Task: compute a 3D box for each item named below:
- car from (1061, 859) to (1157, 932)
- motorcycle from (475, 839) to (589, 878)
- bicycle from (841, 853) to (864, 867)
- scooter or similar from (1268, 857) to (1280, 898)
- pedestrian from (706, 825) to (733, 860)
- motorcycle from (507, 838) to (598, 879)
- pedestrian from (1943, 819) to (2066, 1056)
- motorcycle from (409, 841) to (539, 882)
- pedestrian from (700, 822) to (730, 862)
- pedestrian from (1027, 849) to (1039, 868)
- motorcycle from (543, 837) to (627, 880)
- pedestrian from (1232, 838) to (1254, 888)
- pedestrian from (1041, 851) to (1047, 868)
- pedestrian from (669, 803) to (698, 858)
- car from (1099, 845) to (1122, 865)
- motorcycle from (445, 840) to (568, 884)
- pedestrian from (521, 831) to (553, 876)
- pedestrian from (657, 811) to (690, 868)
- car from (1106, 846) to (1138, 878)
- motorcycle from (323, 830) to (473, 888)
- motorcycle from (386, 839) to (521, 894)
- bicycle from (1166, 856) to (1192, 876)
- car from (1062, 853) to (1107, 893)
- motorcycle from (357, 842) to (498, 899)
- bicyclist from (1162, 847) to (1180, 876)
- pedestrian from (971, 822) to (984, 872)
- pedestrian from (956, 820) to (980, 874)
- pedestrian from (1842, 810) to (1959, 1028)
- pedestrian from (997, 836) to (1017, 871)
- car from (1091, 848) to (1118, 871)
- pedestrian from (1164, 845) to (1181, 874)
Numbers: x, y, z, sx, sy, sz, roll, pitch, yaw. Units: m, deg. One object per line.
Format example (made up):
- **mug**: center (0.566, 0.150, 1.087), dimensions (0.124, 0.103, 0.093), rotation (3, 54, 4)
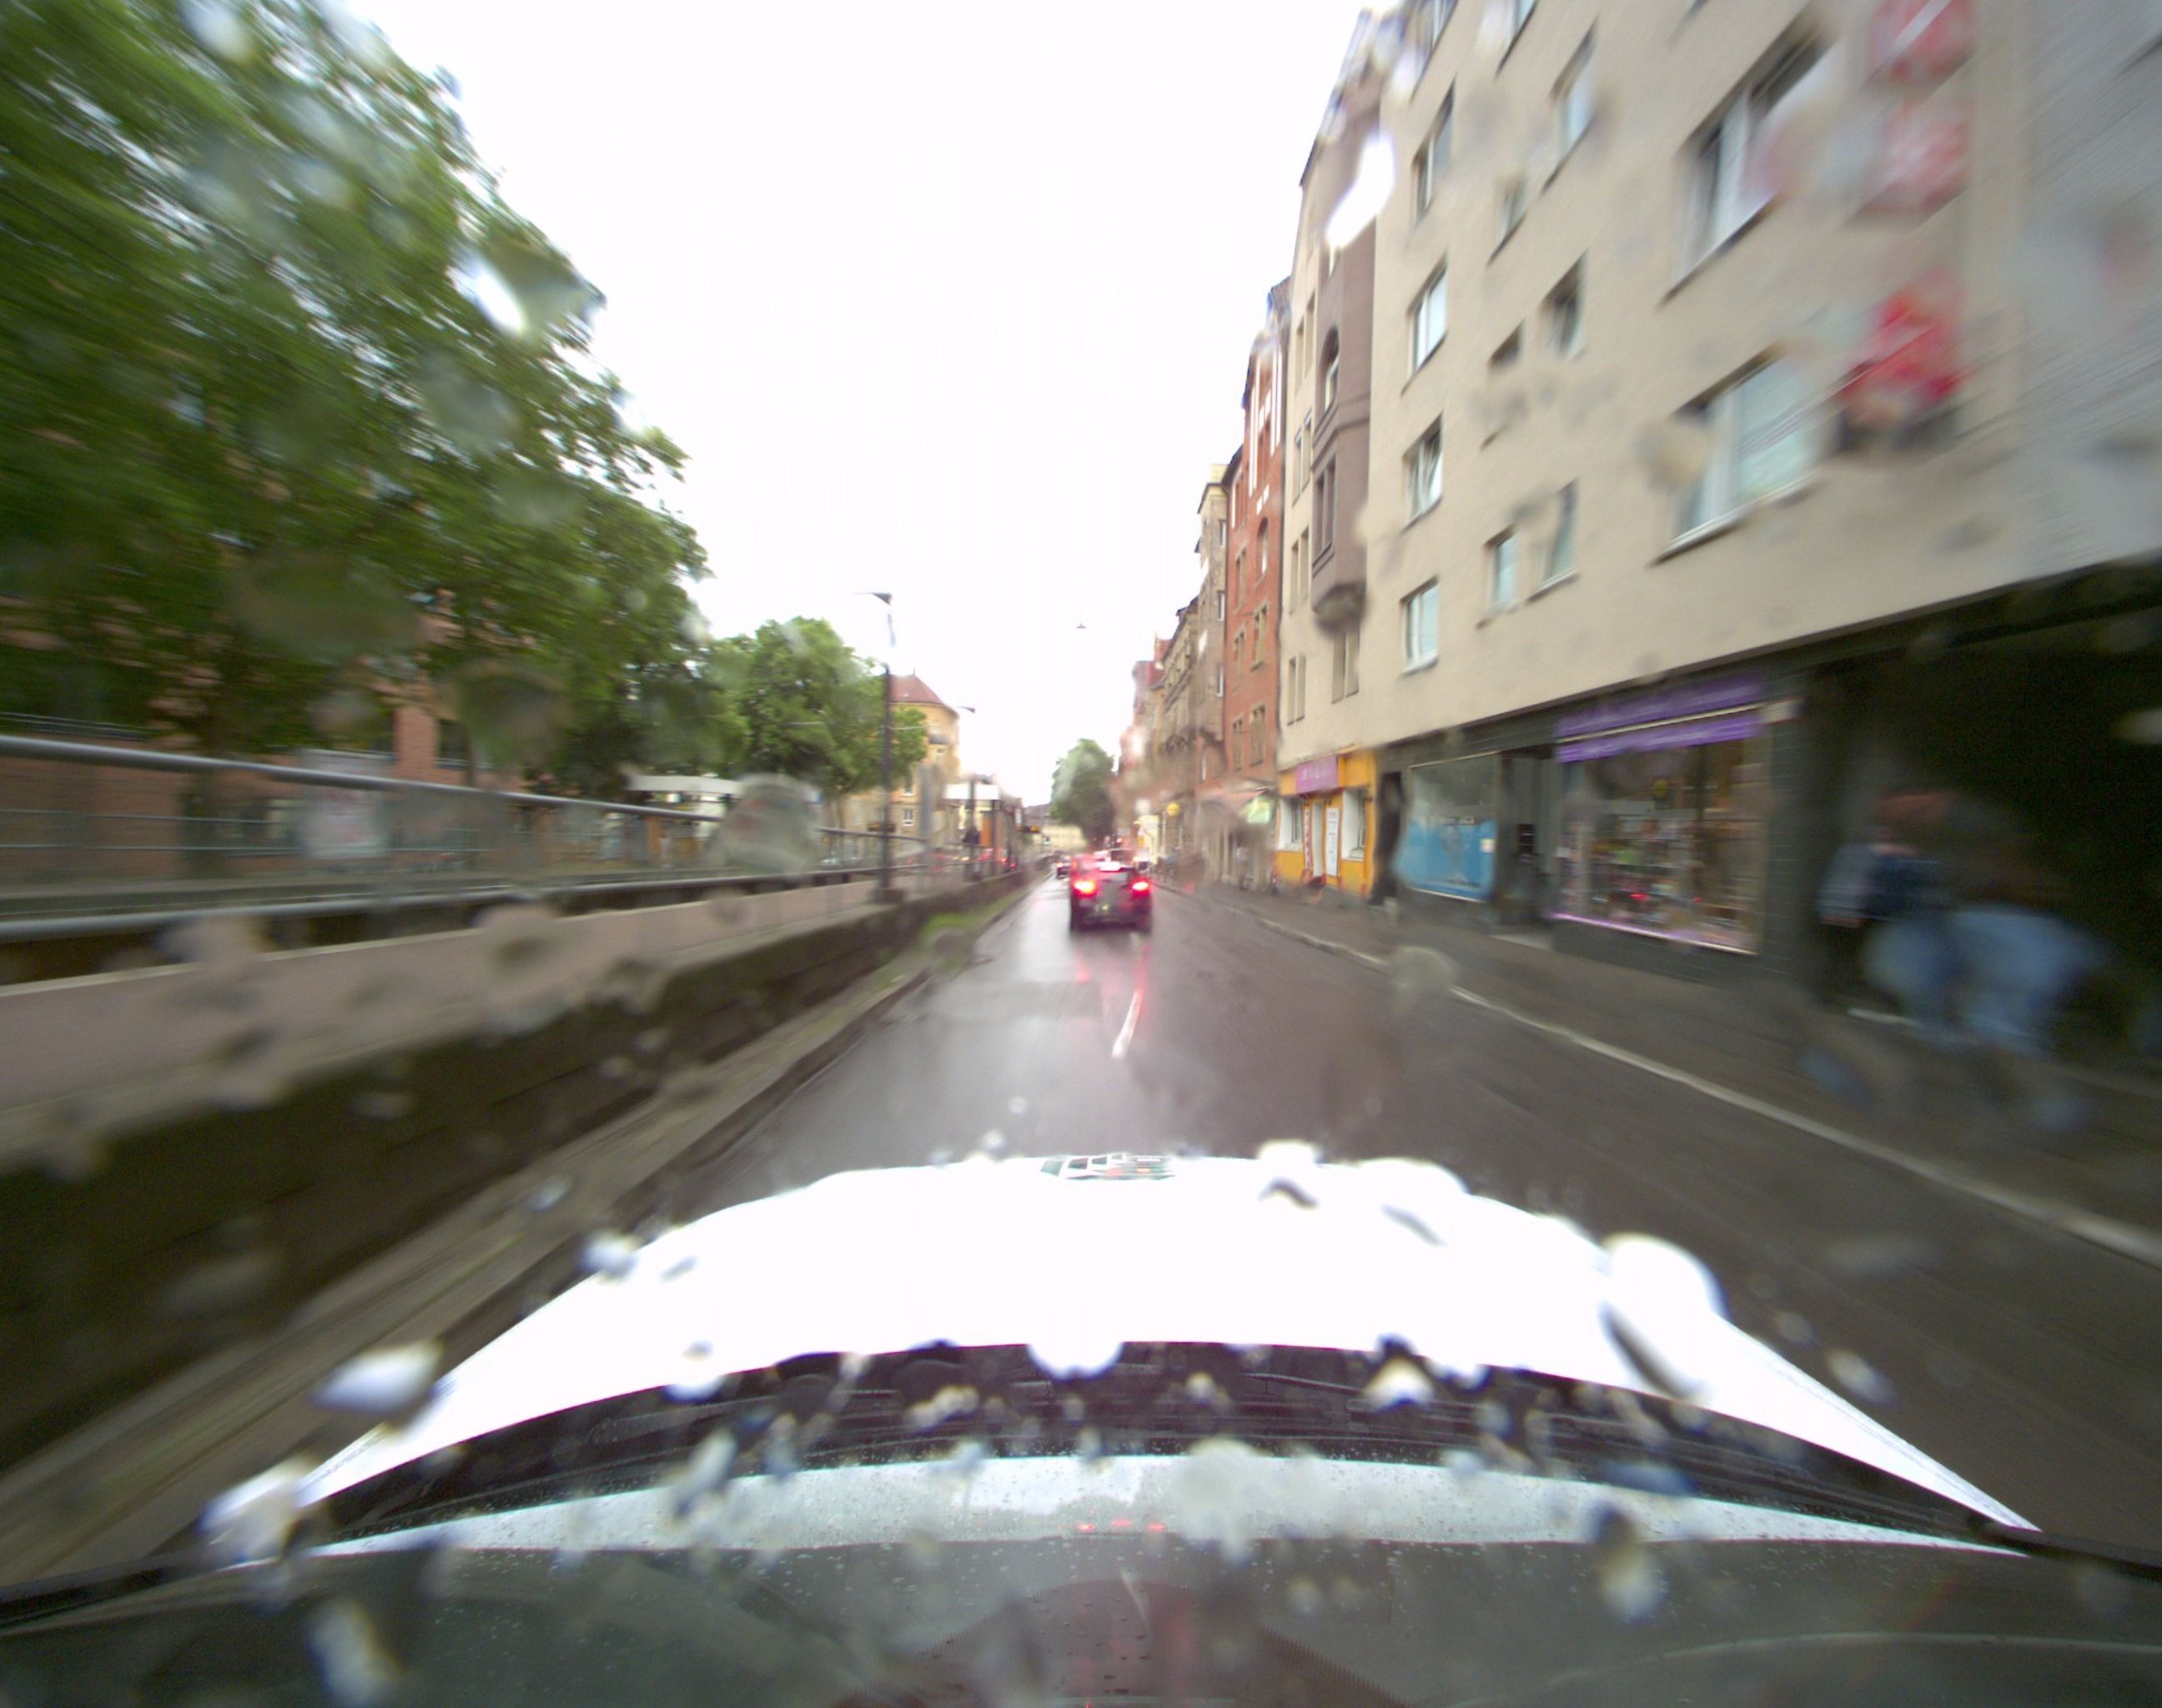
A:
- **car**: center (0.577, 0.824, 18.068), dimensions (1.888, 1.390, 4.000), rotation (0, 0, 0)
- **motorcycle**: center (-22.228, 0.180, 33.026), dimensions (3.854, 1.488, 1.005), rotation (1, 0, -3)
- **bicycle**: center (-19.699, 0.522, 70.176), dimensions (1.872, 1.195, 0.516), rotation (1, 0, -12)
- **scooter or similar**: center (5.964, 0.722, 25.207), dimensions (0.256, 1.222, 1.198), rotation (1, 0, 9)
- **pedestrian**: center (-13.034, -0.415, 29.372), dimensions (0.702, 1.240, 0.563), rotation (2, 0, -3)
- **motorcycle**: center (-22.144, 0.177, 34.179), dimensions (3.050, 1.627, 1.005), rotation (1, 0, -3)
- **pedestrian**: center (6.640, 0.585, 5.868), dimensions (0.479, 1.645, 0.331), rotation (1, 0, 3)
- **motorcycle**: center (-22.183, 0.288, 29.820), dimensions (3.854, 1.407, 1.005), rotation (1, 0, -3)
- **pedestrian**: center (-12.894, -0.430, 28.691), dimensions (0.775, 1.362, 0.563), rotation (2, 0, -3)
- **pedestrian**: center (-4.338, 0.419, 73.212), dimensions (0.745, 1.724, 0.732), rotation (1, 0, -44)
- **motorcycle**: center (-21.851, 0.201, 35.945), dimensions (3.029, 1.816, 0.992), rotation (1, 0, -3)
- **pedestrian**: center (6.012, 0.341, 30.276), dimensions (0.576, 1.830, 0.563), rotation (-3, -1, -3)
- **pedestrian**: center (-3.342, 0.524, 73.147), dimensions (0.531, 1.530, 0.435), rotation (1, 0, -9)
- **pedestrian**: center (-12.579, -0.742, 25.768), dimensions (0.561, 1.715, 0.705), rotation (2, 0, -2)
- **car**: center (2.192, 0.077, 61.655), dimensions (1.707, 1.469, 4.282), rotation (1, 0, 1)
- **motorcycle**: center (-21.838, 0.299, 31.032), dimensions (3.854, 1.605, 1.005), rotation (1, 0, -3)
- **pedestrian**: center (-24.782, -0.004, 37.099), dimensions (0.729, 2.013, 0.981), rotation (1, 0, 3)
- **pedestrian**: center (-12.149, -0.430, 24.288), dimensions (0.685, 1.641, 0.563), rotation (2, 0, -3)
- **car**: center (2.598, 0.500, 52.560), dimensions (1.914, 1.936, 4.685), rotation (1, 0, 1)
- **motorcycle**: center (-22.008, 0.150, 26.322), dimensions (3.854, 1.774, 1.005), rotation (1, 0, -3)
- **motorcycle**: center (-22.158, 0.435, 28.808), dimensions (3.854, 1.816, 1.005), rotation (1, 0, -3)
- **bicycle**: center (5.678, 0.701, 47.053), dimensions (1.697, 1.115, 0.459), rotation (0, -1, -39)
- **car**: center (0.098, 0.731, 32.812), dimensions (1.676, 1.489, 3.610), rotation (0, 0, -2)
- **motorcycle**: center (-22.149, 0.554, 27.659), dimensions (3.854, 1.816, 1.005), rotation (1, 0, -3)
- **bicyclist**: center (5.226, 0.415, 47.337), dimensions (0.855, 1.657, 0.624), rotation (0, -1, -41)
- **pedestrian**: center (-3.364, -0.214, 26.483), dimensions (0.408, 1.605, 0.449), rotation (0, 0, -7)
- **pedestrian**: center (-3.389, -0.197, 24.524), dimensions (0.492, 1.605, 0.639), rotation (0, 0, 16)
- **pedestrian**: center (6.762, 0.516, 6.740), dimensions (0.458, 1.720, 0.517), rotation (1, -1, 8)
- **pedestrian**: center (-2.646, -0.009, 29.081), dimensions (0.611, 1.227, 0.507), rotation (1, 0, 3)
- **car**: center (1.967, 0.435, 69.018), dimensions (1.929, 1.831, 4.276), rotation (1, 0, -3)
- **pedestrian**: center (5.516, 0.327, 49.225), dimensions (0.678, 1.754, 0.841), rotation (-1, 0, 33)
